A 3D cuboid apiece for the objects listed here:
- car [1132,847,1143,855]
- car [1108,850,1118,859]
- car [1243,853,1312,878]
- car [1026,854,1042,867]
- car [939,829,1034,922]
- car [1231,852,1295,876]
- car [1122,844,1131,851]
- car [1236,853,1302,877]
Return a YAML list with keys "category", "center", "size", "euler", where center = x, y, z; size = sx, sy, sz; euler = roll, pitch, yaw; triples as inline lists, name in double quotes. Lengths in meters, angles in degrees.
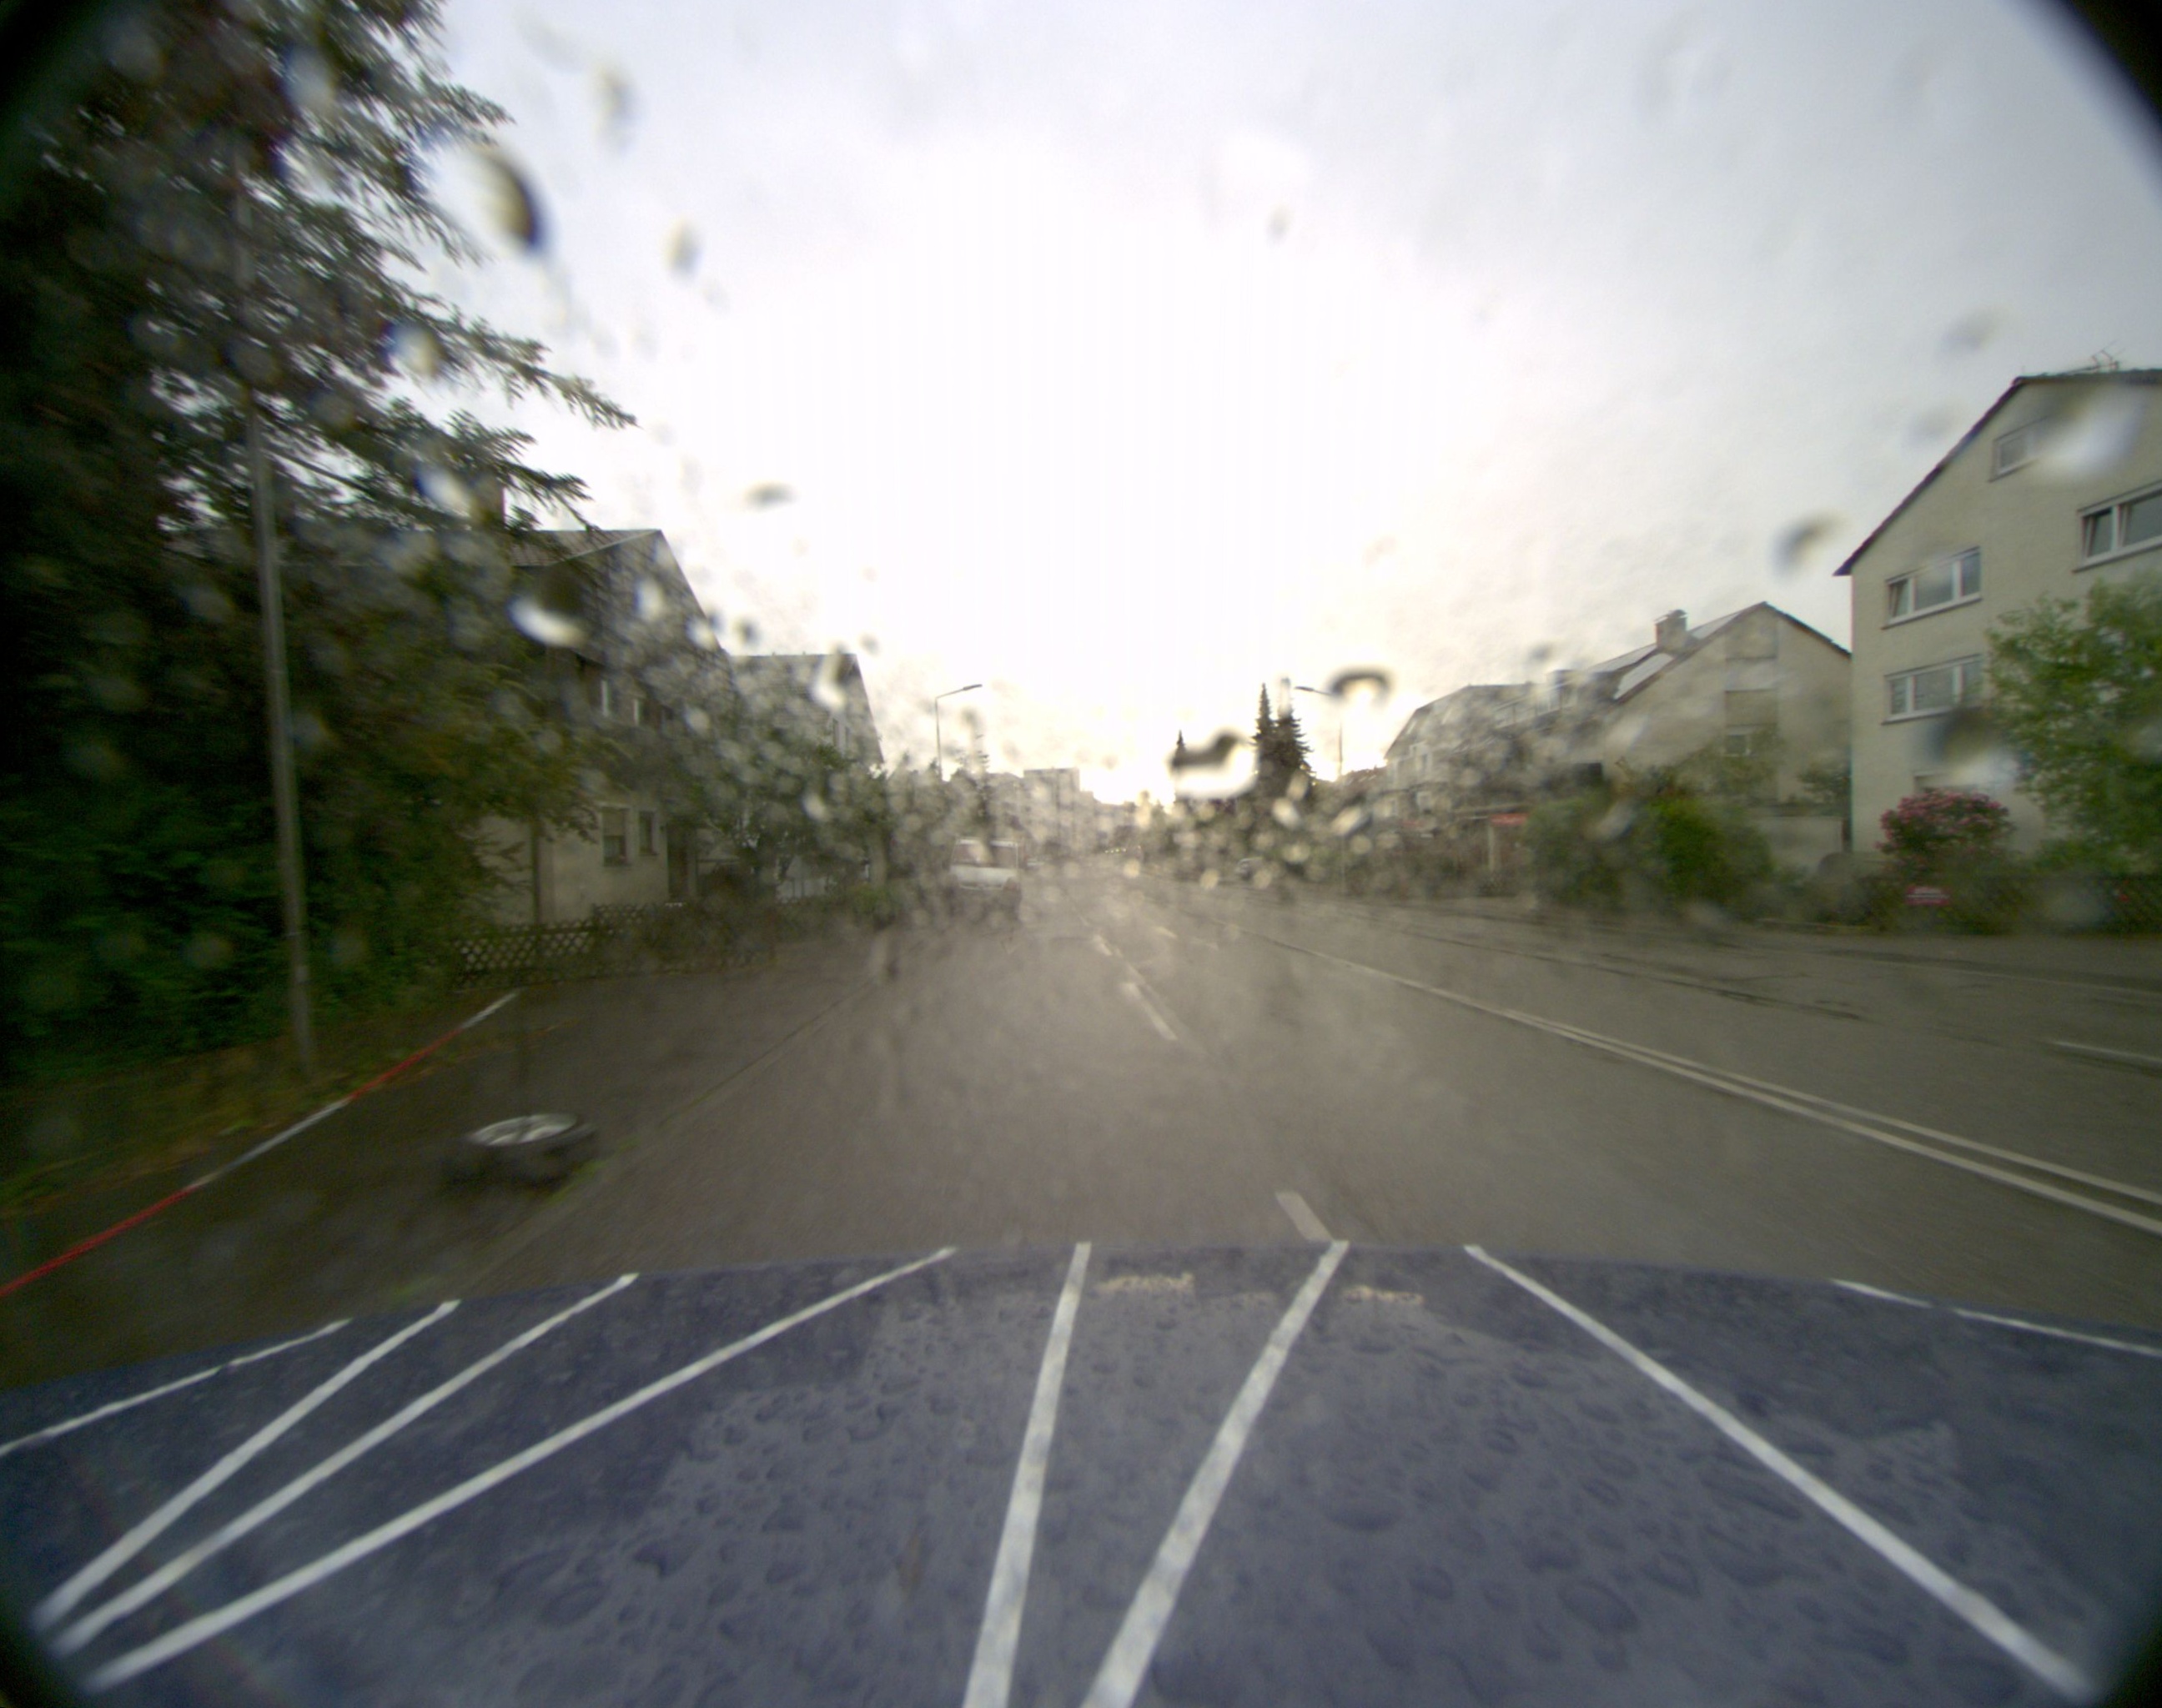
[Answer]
- category: "car"
  center: [11.443, -0.598, 153.263]
  size: [1.997, 1.606, 4.002]
  euler: [-1, 0, 8]
- category: "car"
  center: [6.578, 0.094, 156.730]
  size: [1.852, 1.870, 4.121]
  euler: [-1, 0, 1]
- category: "car"
  center: [12.915, 0.738, 50.139]
  size: [4.035, 1.434, 1.813]
  euler: [-3, 0, 2]
- category: "car"
  center: [-6.447, 0.896, 105.253]
  size: [1.912, 1.622, 3.702]
  euler: [-1, 0, 1]
- category: "car"
  center: [-2.657, 0.567, 23.038]
  size: [2.398, 2.417, 6.431]
  euler: [0, 0, -3]
- category: "car"
  center: [13.222, 0.685, 55.393]
  size: [4.115, 1.536, 2.000]
  euler: [-3, 0, 2]
- category: "car"
  center: [11.220, -1.655, 187.132]
  size: [1.851, 1.753, 4.123]
  euler: [-1, 0, 7]
- category: "car"
  center: [12.988, 0.754, 52.661]
  size: [4.156, 1.434, 1.890]
  euler: [-3, 0, 4]
